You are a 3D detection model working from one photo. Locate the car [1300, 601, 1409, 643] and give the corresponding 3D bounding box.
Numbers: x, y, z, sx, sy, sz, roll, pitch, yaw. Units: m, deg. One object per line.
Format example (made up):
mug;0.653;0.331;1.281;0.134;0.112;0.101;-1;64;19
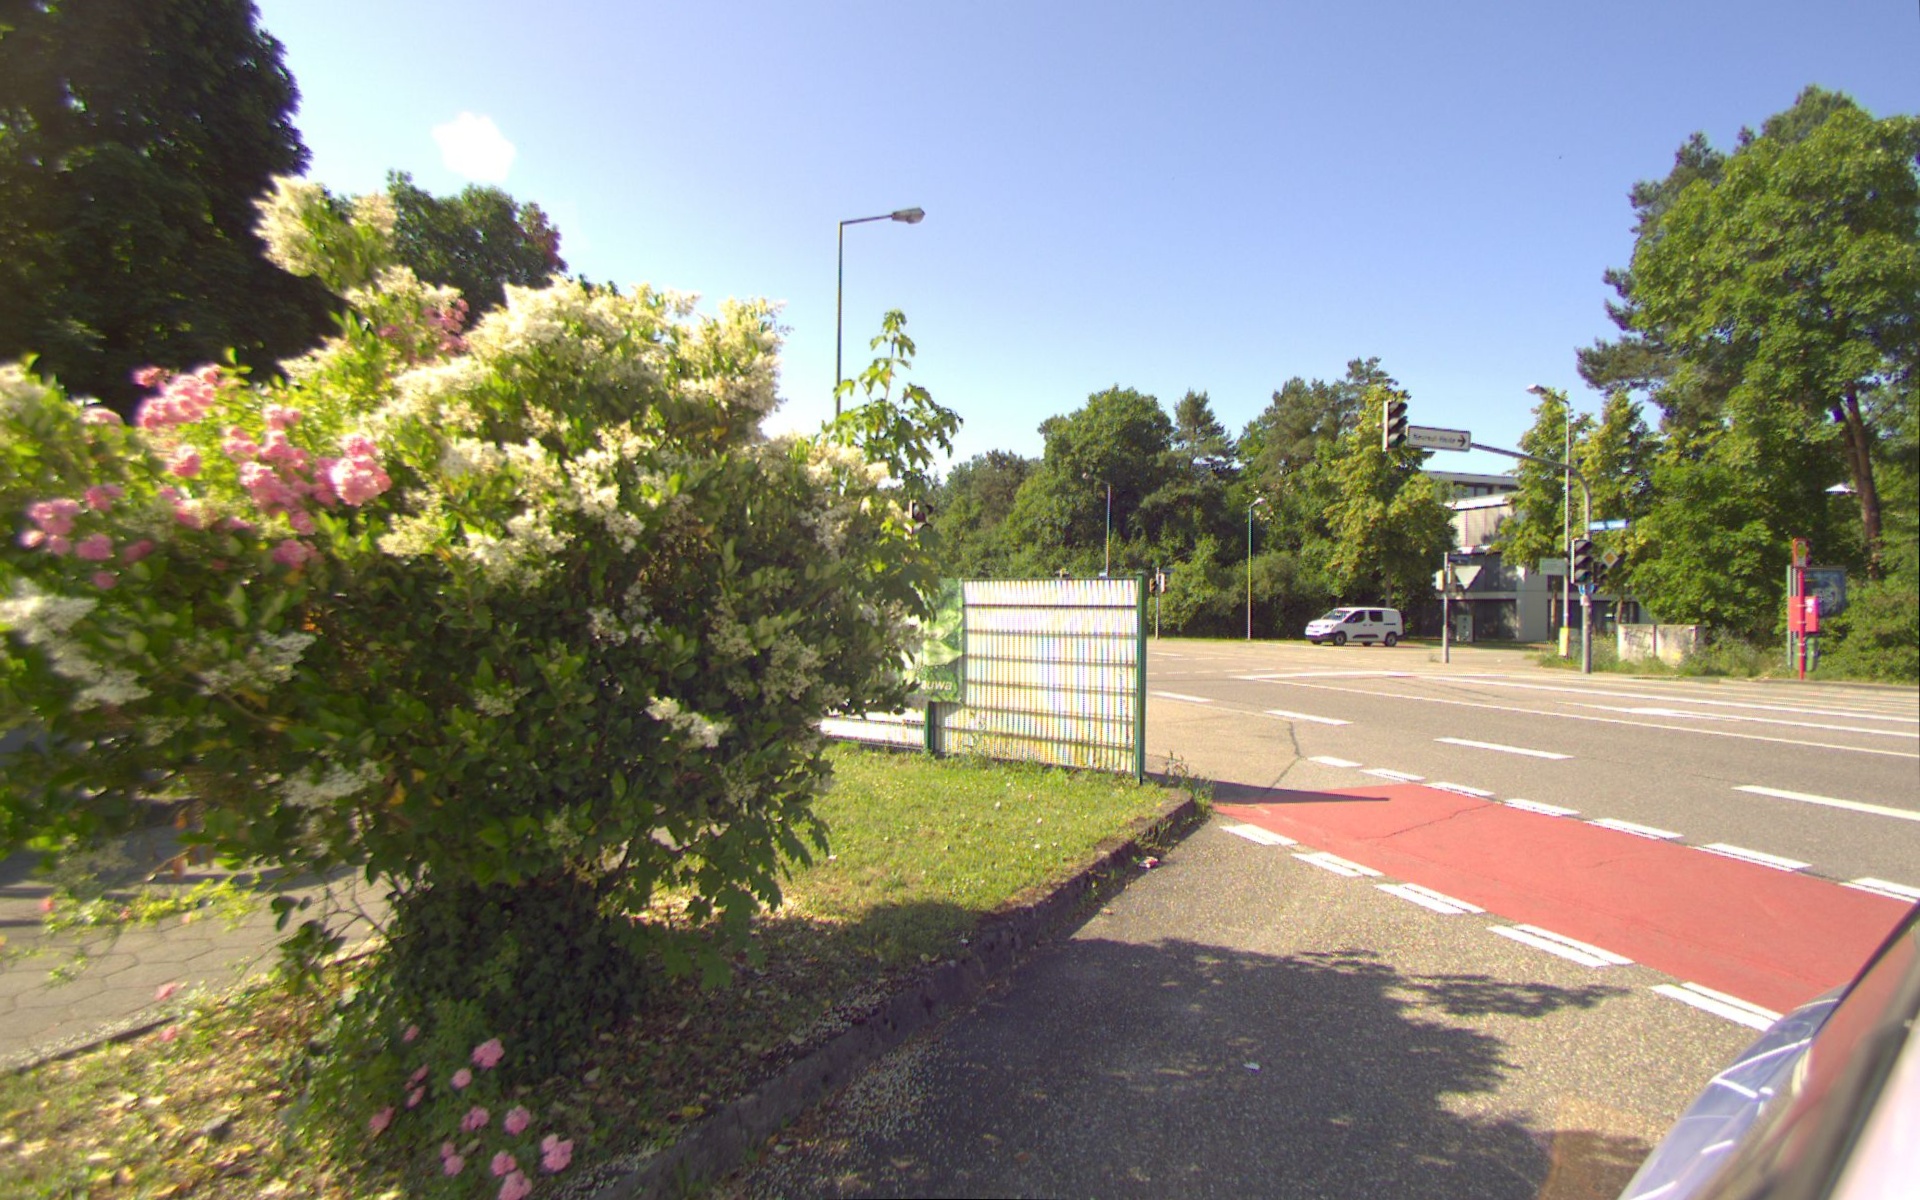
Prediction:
car;18.381;1.031;47.188;4.563;1.800;1.856;2;-1;-18
